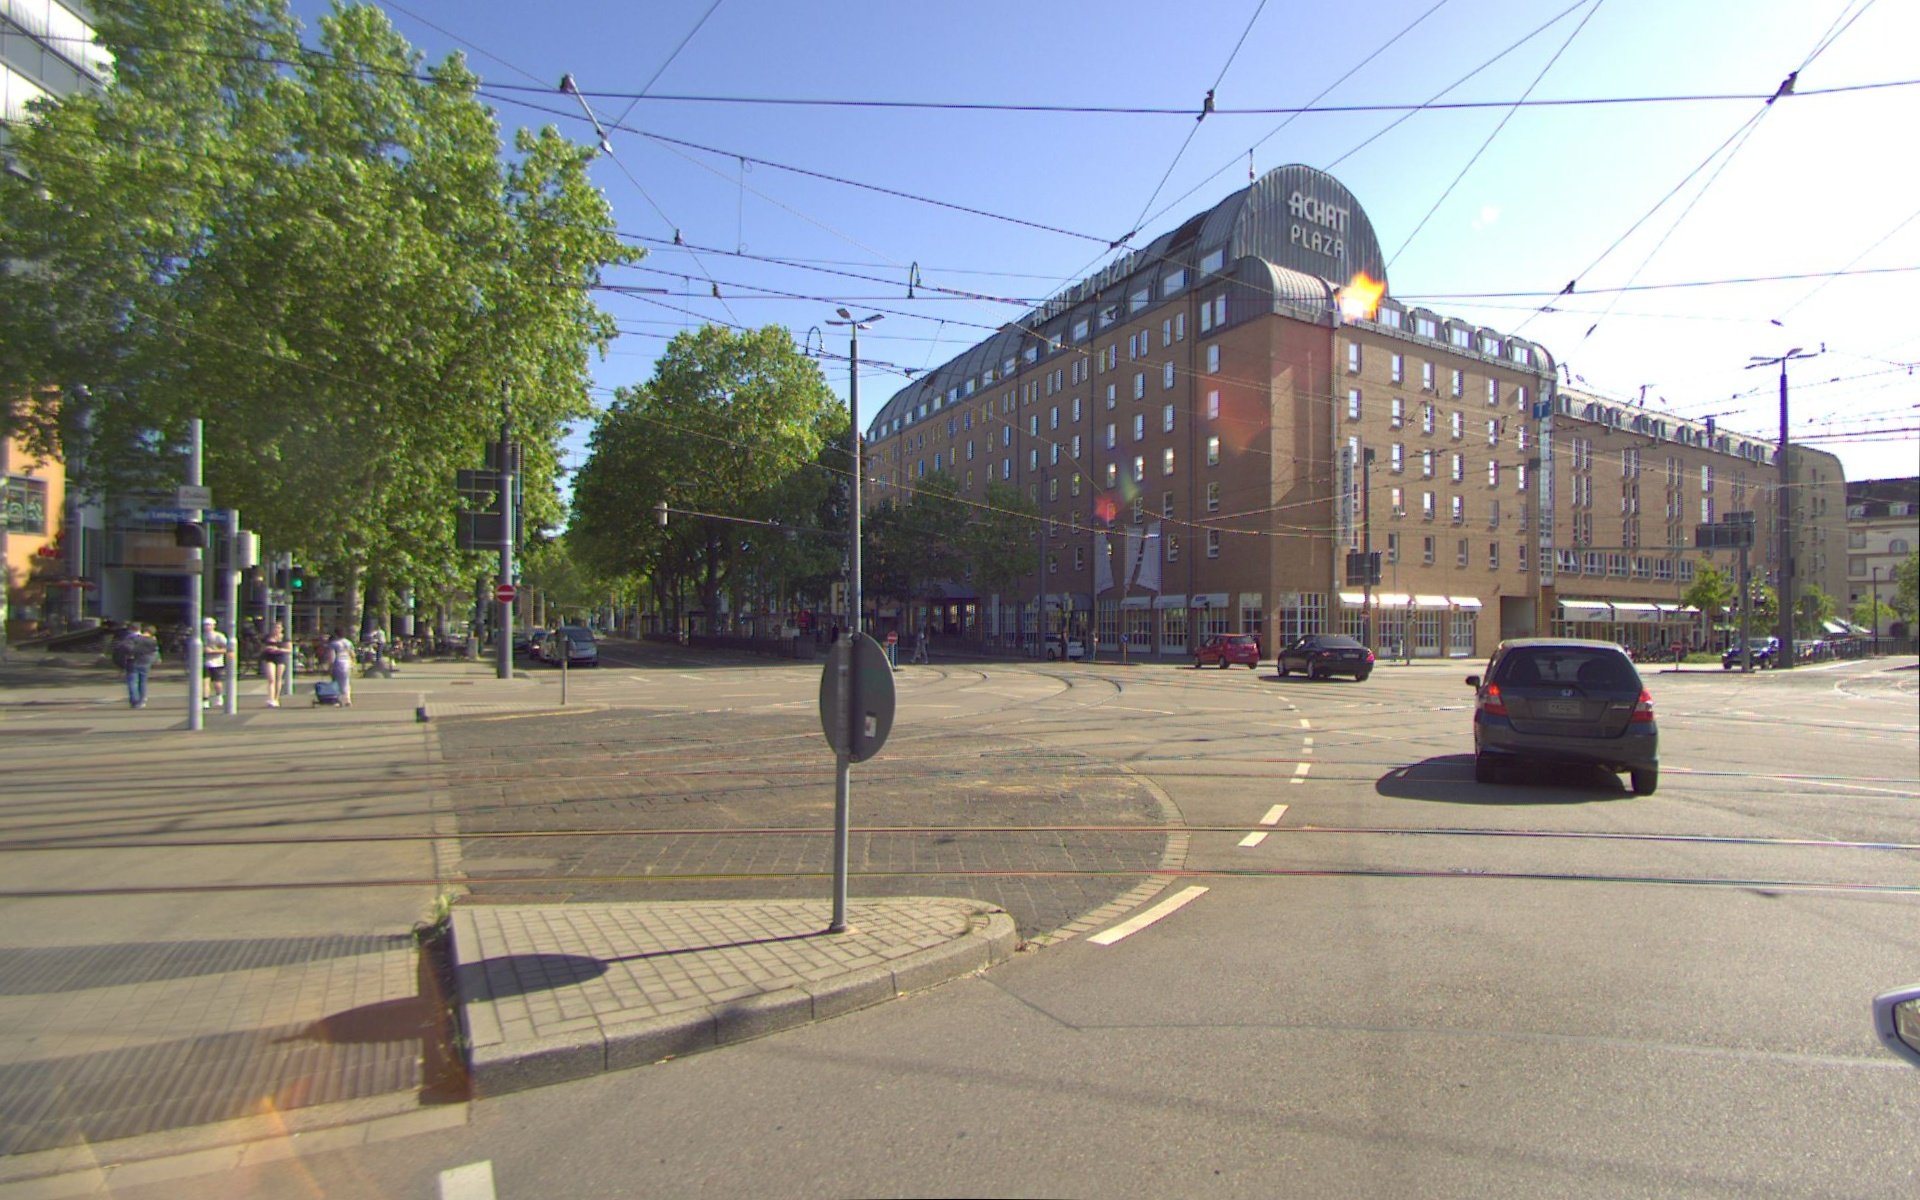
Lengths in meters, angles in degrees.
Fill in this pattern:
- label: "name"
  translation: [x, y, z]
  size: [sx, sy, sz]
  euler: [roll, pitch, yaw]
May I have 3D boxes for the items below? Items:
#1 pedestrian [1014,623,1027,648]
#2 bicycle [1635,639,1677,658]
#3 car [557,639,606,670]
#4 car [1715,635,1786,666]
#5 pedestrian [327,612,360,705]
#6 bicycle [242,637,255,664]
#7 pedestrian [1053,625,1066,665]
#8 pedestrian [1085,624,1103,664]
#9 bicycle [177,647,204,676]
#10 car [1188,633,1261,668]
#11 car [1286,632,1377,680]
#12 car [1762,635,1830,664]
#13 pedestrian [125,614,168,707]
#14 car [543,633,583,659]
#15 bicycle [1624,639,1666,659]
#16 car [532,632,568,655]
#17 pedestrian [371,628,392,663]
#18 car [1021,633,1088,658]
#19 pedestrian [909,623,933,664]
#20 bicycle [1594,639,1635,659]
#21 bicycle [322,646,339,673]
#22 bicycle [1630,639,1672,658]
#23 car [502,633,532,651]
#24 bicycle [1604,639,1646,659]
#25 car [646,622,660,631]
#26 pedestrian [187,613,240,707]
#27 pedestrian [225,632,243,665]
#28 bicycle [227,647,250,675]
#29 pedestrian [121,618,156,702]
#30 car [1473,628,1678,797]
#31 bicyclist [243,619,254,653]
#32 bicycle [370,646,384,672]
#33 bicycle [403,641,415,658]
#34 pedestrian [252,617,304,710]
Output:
- label: "pedestrian"
  translation: [4.760, 2.770, 79.087]
  size: [0.823, 1.957, 0.556]
  euler: [1, -2, -31]
- label: "bicycle"
  translation: [49.929, 3.468, 72.081]
  size: [0.723, 1.327, 2.479]
  euler: [1, -1, -23]
- label: "car"
  translation: [-16.820, 2.399, 44.573]
  size: [1.971, 1.247, 3.980]
  euler: [1, -1, -22]
- label: "car"
  translation: [39.528, 2.516, 50.194]
  size: [3.878, 1.416, 1.601]
  euler: [0, -5, -34]
- label: "pedestrian"
  translation: [-12.475, 1.177, 20.324]
  size: [0.380, 1.855, 0.462]
  euler: [-1, -1, 37]
- label: "bicycle"
  translation: [-37.233, 2.608, 52.574]
  size: [0.461, 1.370, 2.349]
  euler: [1, -2, -34]
- label: "pedestrian"
  translation: [4.988, 2.253, 50.376]
  size: [0.519, 1.957, 0.524]
  euler: [0, -1, -7]
- label: "pedestrian"
  translation: [6.604, 2.169, 49.598]
  size: [0.743, 1.957, 0.519]
  euler: [1, -1, -34]
- label: "bicycle"
  translation: [-23.708, 1.886, 30.979]
  size: [0.371, 0.809, 2.015]
  euler: [1, -2, -29]
- label: "car"
  translation: [11.485, 2.164, 43.843]
  size: [1.630, 1.468, 3.576]
  euler: [0, -2, -13]
- label: "car"
  translation: [12.361, 1.827, 33.706]
  size: [1.697, 1.468, 4.524]
  euler: [0, -2, 5]
- label: "car"
  translation: [44.968, 2.644, 54.028]
  size: [4.183, 1.416, 1.601]
  euler: [0, -5, -34]
- label: "pedestrian"
  translation: [-16.592, 1.217, 20.484]
  size: [0.572, 1.855, 0.497]
  euler: [-1, -1, 31]
- label: "car"
  translation: [-19.593, 2.239, 49.599]
  size: [1.756, 1.158, 3.980]
  euler: [1, -1, -22]
- label: "bicycle"
  translation: [48.408, 3.438, 71.015]
  size: [0.723, 1.327, 2.479]
  euler: [1, -1, -23]
- label: "car"
  translation: [-22.841, 2.393, 56.034]
  size: [1.756, 1.158, 3.980]
  euler: [1, -1, -22]
- label: "pedestrian"
  translation: [-24.525, 1.935, 42.574]
  size: [0.491, 1.471, 0.649]
  euler: [0, -1, 5]
- label: "car"
  translation: [5.482, 2.613, 58.687]
  size: [2.038, 1.399, 4.387]
  euler: [1, -2, -24]
- label: "pedestrian"
  translation: [-1.867, 2.085, 48.076]
  size: [0.896, 1.957, 0.697]
  euler: [1, -1, -34]
- label: "bicycle"
  translation: [45.740, 3.405, 70.228]
  size: [0.723, 1.327, 2.479]
  euler: [1, -1, -23]
- label: "bicycle"
  translation: [-20.693, 1.953, 33.049]
  size: [0.371, 0.809, 2.015]
  euler: [1, -2, -29]
- label: "bicycle"
  translation: [49.155, 3.453, 71.458]
  size: [0.723, 1.327, 2.479]
  euler: [1, -1, -23]
- label: "car"
  translation: [-31.058, 2.949, 70.492]
  size: [1.756, 1.158, 3.980]
  euler: [1, -1, -22]
- label: "bicycle"
  translation: [46.998, 3.429, 71.009]
  size: [0.723, 1.327, 2.479]
  euler: [1, -1, -23]
- label: "car"
  translation: [-62.230, 5.397, 203.422]
  size: [1.974, 1.884, 3.973]
  euler: [1, -2, -27]
- label: "pedestrian"
  translation: [-15.151, 1.198, 20.410]
  size: [0.614, 1.855, 0.761]
  euler: [0, -1, -16]
- label: "pedestrian"
  translation: [-29.333, 1.966, 40.573]
  size: [0.541, 1.310, 0.426]
  euler: [1, -1, -30]
- label: "bicycle"
  translation: [-22.923, 1.916, 31.934]
  size: [0.371, 0.809, 2.015]
  euler: [1, -2, -29]
- label: "pedestrian"
  translation: [-18.530, 1.340, 22.656]
  size: [0.453, 1.855, 0.458]
  euler: [-1, -1, 31]
- label: "car"
  translation: [6.854, 1.117, 11.476]
  size: [1.700, 1.584, 3.672]
  euler: [-1, -2, 28]
- label: "bicyclist"
  translation: [-37.256, 1.872, 52.606]
  size: [0.461, 1.744, 0.480]
  euler: [1, -1, -35]
- label: "bicycle"
  translation: [-19.874, 1.987, 34.234]
  size: [0.371, 0.809, 2.015]
  euler: [1, -2, -29]
- label: "bicycle"
  translation: [-26.849, 2.406, 48.927]
  size: [0.440, 0.793, 1.482]
  euler: [1, -2, -32]
- label: "pedestrian"
  translation: [-13.918, 1.272, 20.509]
  size: [0.614, 1.855, 0.762]
  euler: [0, -1, -12]
